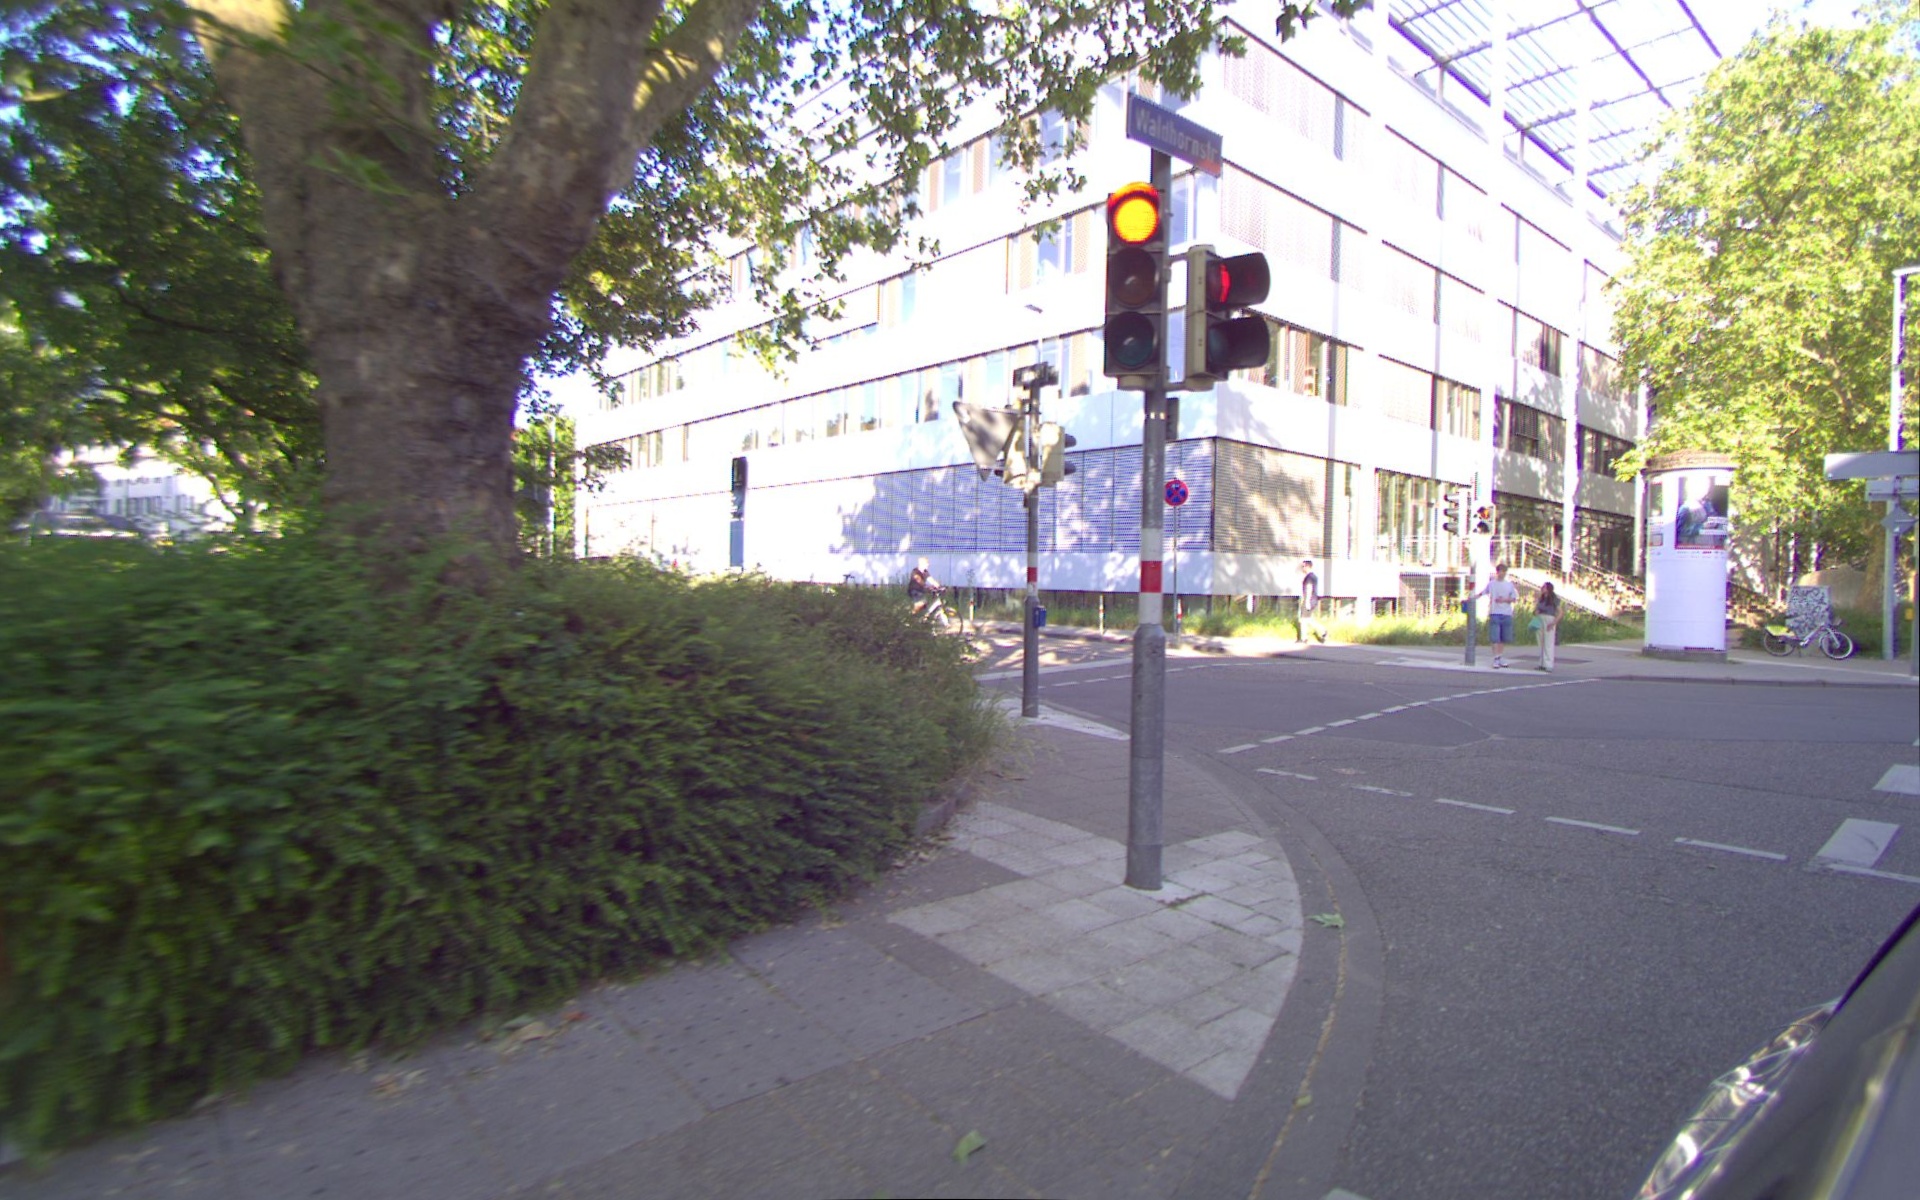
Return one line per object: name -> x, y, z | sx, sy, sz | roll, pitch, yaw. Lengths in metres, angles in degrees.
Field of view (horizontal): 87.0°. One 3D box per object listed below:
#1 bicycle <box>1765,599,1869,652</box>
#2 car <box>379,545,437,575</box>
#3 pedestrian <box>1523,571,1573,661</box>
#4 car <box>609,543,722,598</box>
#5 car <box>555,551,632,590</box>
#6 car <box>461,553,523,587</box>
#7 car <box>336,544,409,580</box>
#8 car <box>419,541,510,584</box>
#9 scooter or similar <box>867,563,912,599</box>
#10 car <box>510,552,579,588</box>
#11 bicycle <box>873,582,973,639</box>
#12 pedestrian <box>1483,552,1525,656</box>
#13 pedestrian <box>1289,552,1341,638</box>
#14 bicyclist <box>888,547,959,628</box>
bicycle -> 19.308, 0.563, 22.842 | 1.619, 1.011, 0.617 | 4, 5, 24
car -> -30.006, -2.200, 54.968 | 3.587, 1.508, 1.606 | 3, 2, 40
pedestrian -> 10.416, 0.273, 17.931 | 0.670, 1.543, 0.553 | 2, 1, 37
car -> -10.844, -1.112, 37.018 | 2.073, 1.851, 4.711 | 0, 2, -43
car -> -15.166, -1.236, 41.785 | 1.602, 1.503, 3.844 | 0, 2, -43
car -> -22.270, -1.448, 48.102 | 1.602, 1.503, 3.844 | 0, 2, -43
car -> -33.566, -2.157, 57.739 | 4.892, 1.808, 2.060 | 5, 4, 40
car -> -33.054, -2.475, 67.617 | 1.988, 2.650, 5.054 | 5, 2, 35
scooter or similar -> -2.402, -0.660, 34.535 | 0.688, 1.194, 1.554 | 0, 2, -44
car -> -18.542, -1.342, 45.076 | 1.602, 1.503, 3.844 | 0, 2, -43
bicycle -> -0.753, 0.179, 20.225 | 2.013, 1.029, 0.709 | 3, 3, 37
pedestrian -> 9.941, 0.066, 18.493 | 0.600, 1.862, 0.563 | 2, 1, 34
pedestrian -> 7.666, -0.117, 21.864 | 0.982, 1.793, 0.602 | 2, 2, 18
bicyclist -> -0.729, -0.263, 20.204 | 1.081, 1.554, 0.866 | 2, 1, 37
